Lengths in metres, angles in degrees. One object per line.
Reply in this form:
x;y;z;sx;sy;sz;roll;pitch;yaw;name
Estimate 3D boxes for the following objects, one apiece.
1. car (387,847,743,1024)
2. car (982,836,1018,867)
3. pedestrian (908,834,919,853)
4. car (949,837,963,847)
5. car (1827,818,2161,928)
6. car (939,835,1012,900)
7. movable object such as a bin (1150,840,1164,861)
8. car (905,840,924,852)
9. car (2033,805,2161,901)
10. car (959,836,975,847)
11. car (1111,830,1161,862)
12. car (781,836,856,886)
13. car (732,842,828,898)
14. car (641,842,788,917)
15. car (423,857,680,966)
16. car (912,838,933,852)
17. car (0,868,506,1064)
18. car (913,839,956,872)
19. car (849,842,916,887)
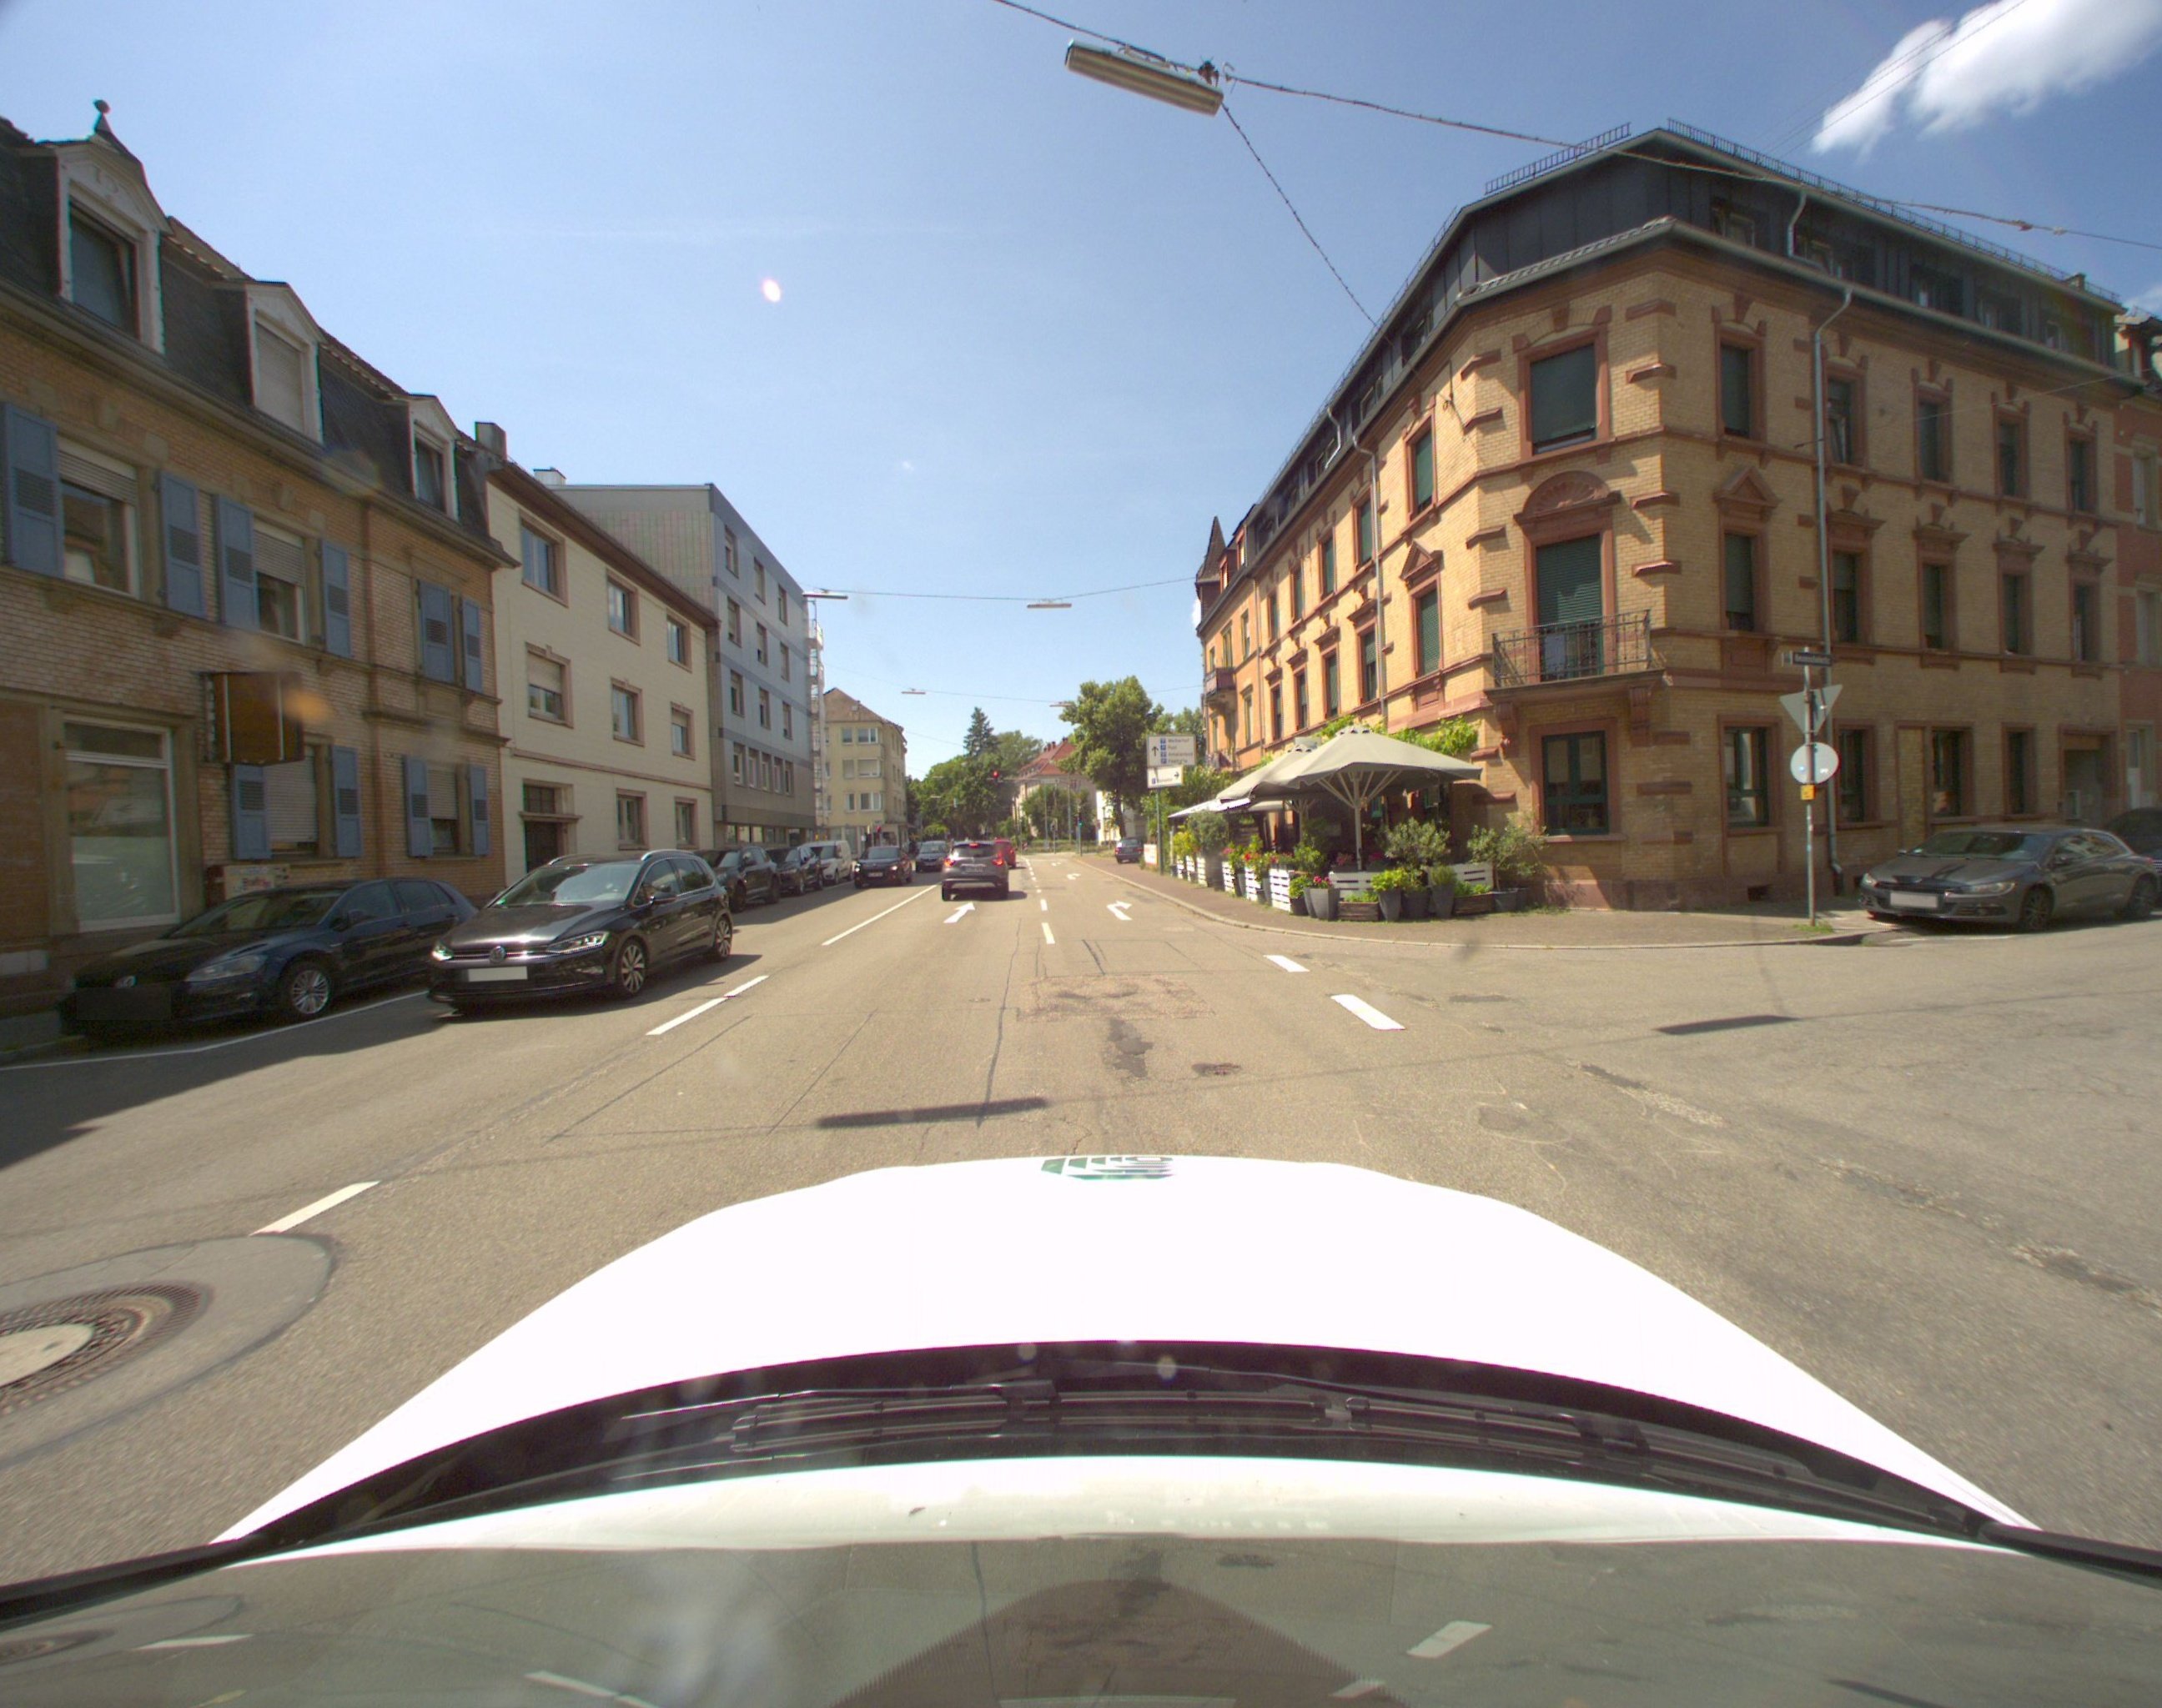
-5.632;0.733;9.661;1.757;1.494;4.238;-3;1;-6;car
-4.422;-0.170;44.845;1.795;1.557;4.032;-1;1;-4;car
-16.893;-1.036;82.056;0.937;1.931;0.971;-2;1;-17;pedestrian
-22.905;-2.221;149.572;1.998;1.906;3.977;-1;1;-17;car
13.729;0.207;12.241;3.995;1.364;1.907;-2;1;-16;car
-2.898;0.296;23.070;1.750;1.632;3.995;-1;1;-4;car
3.955;-0.174;42.364;0.646;1.071;0.638;-2;1;5;movable object such as a bin
-22.346;-1.057;109.234;1.999;1.509;3.976;-2;1;-17;car
19.203;-0.090;14.270;4.135;1.536;1.905;-2;1;-19;car
-19.152;-2.088;136.702;1.998;1.807;3.977;-1;1;-17;car
3.260;-0.500;47.420;1.820;1.548;5.179;-2;2;16;car
-10.853;0.240;33.977;1.911;1.825;4.779;-3;1;-6;car
-10.136;0.476;27.809;1.882;1.641;4.653;-3;1;-6;car
-9.539;0.565;21.694;1.881;1.641;4.811;-3;1;-4;car
-9.270;0.885;14.867;1.863;1.406;4.826;-6;1;-7;car
-18.749;-1.031;96.259;1.999;1.519;3.976;-1;0;-18;car
-8.886;1.013;9.294;1.864;1.406;4.319;-6;1;-8;car
-7.748;0.028;43.304;1.698;1.574;4.306;-3;1;-4;car
-7.373;0.344;30.678;1.698;1.477;4.128;-3;1;-4;car
